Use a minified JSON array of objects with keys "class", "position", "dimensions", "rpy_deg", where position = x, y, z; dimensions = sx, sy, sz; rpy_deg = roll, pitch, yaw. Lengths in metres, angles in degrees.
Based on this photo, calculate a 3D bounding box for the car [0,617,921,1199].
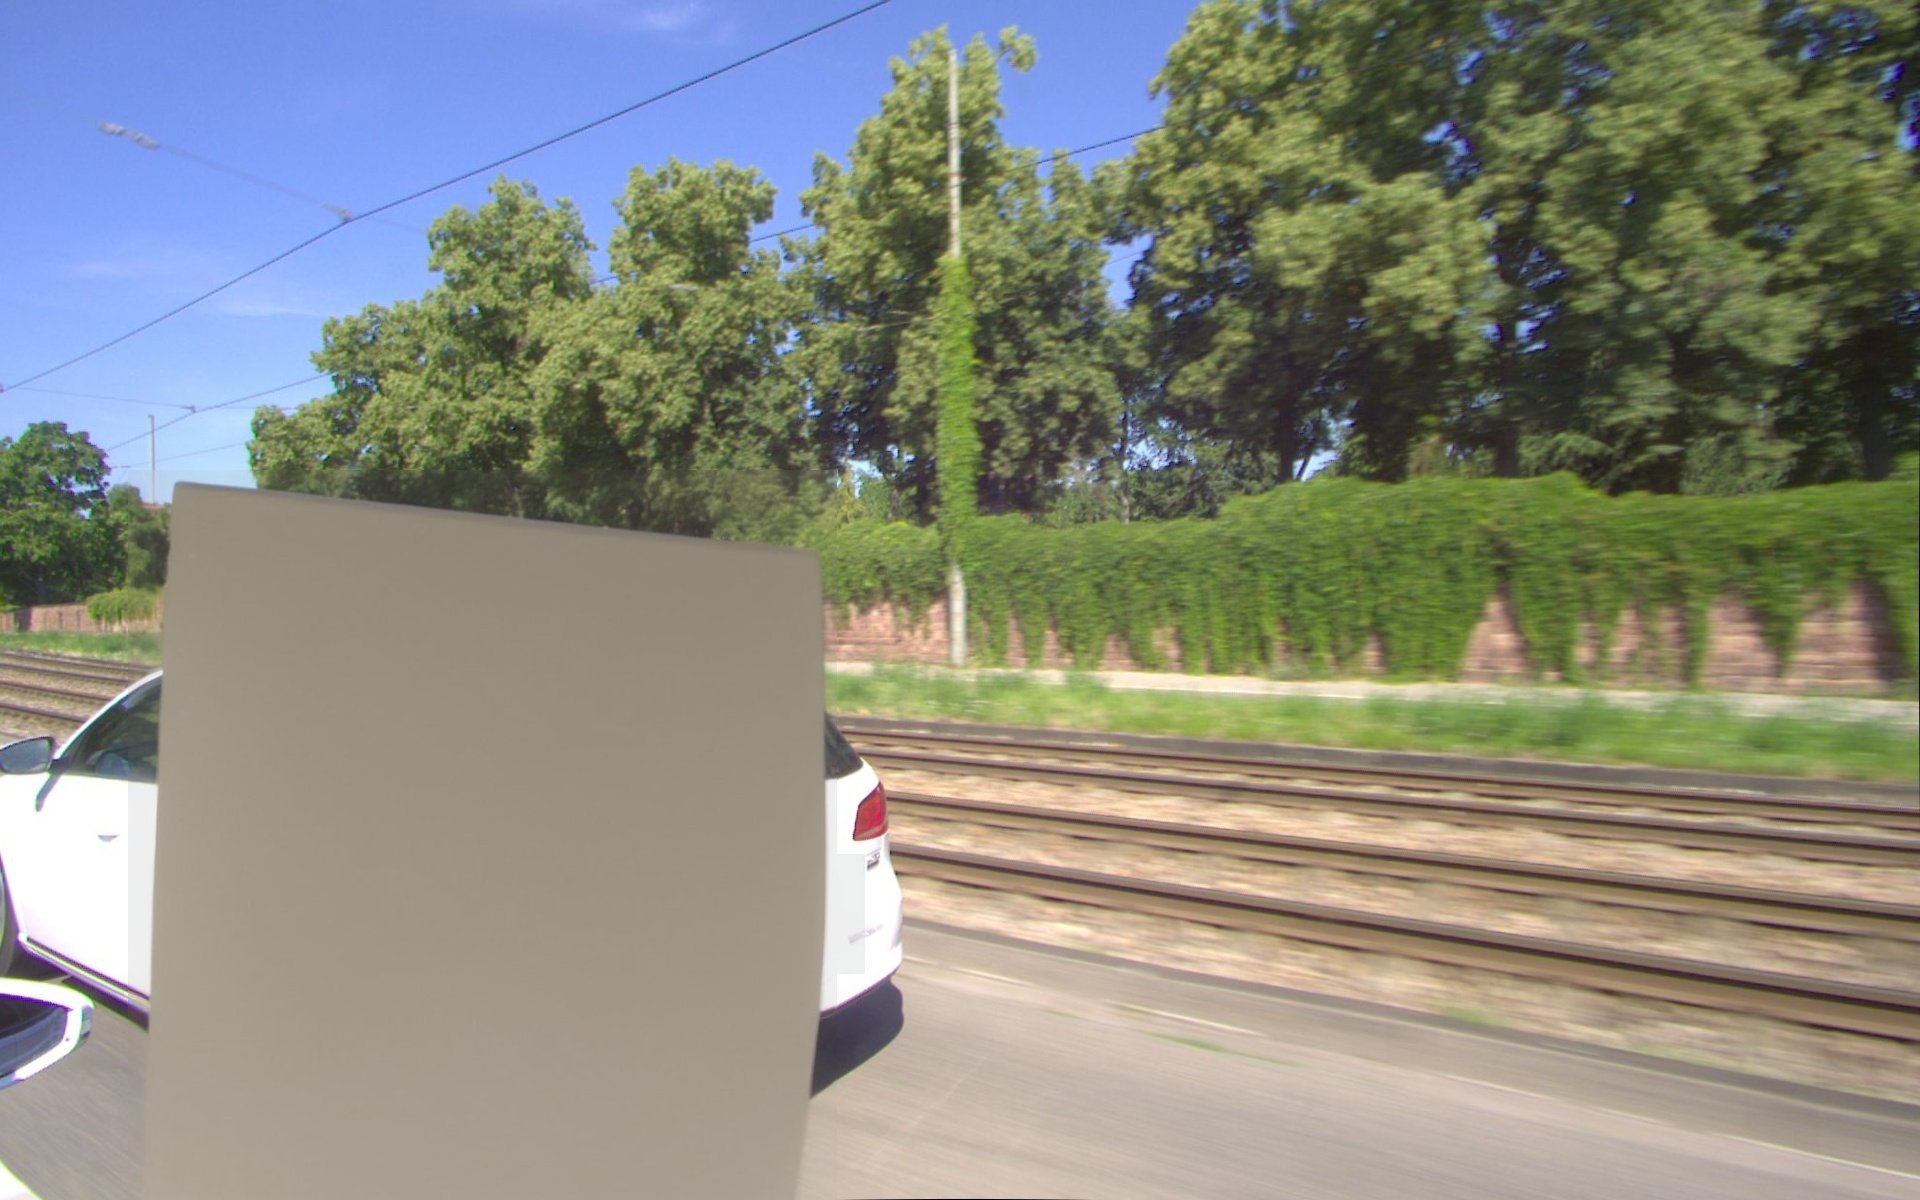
[{"class":"car","position":[-2.438,0.811,4.060],"dimensions":[4.394,1.470,1.688],"rpy_deg":[-1,0,32]}]
